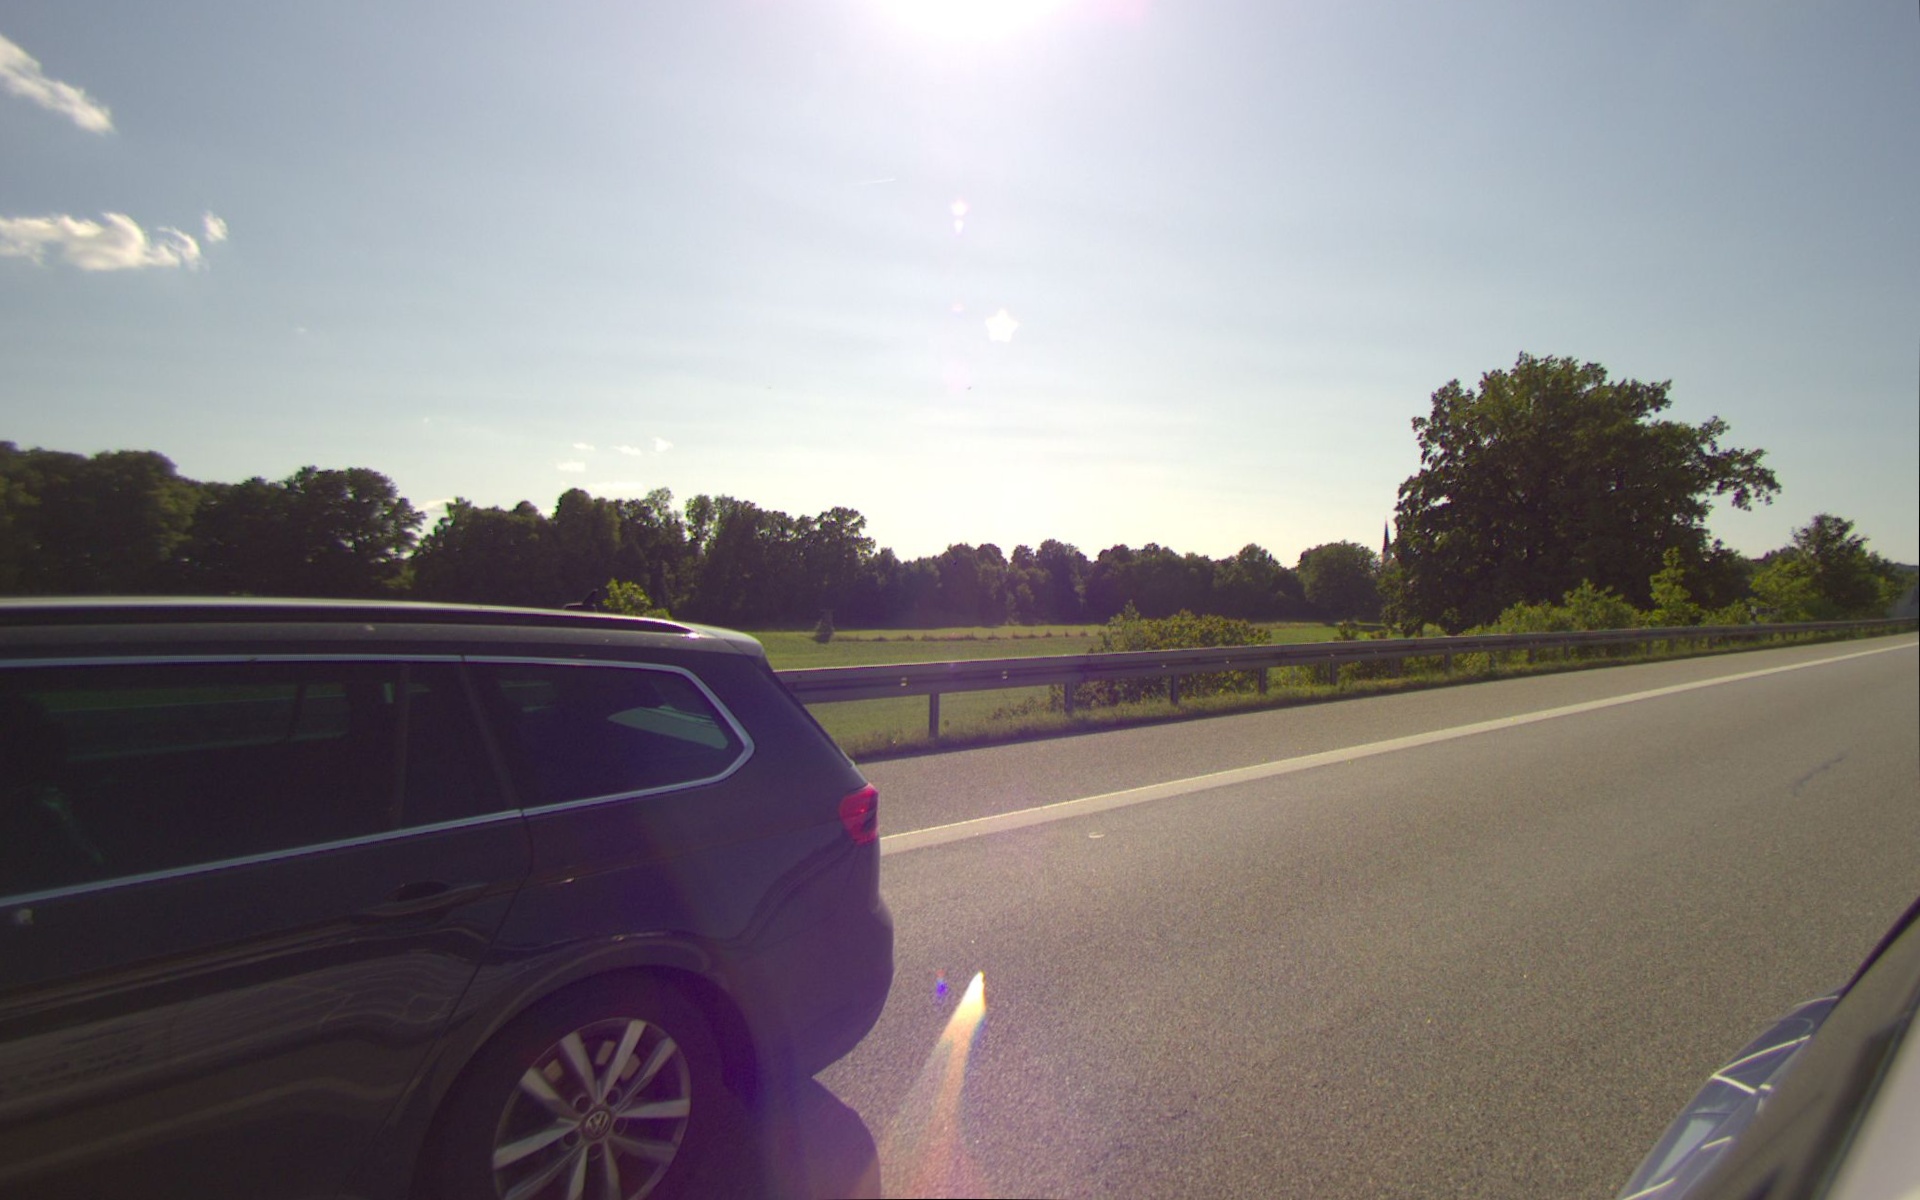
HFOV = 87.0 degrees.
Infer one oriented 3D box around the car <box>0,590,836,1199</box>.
[{"bbox_3d":[-2.487,0.704,1.726,4.338,1.417,1.721,-1,1,-42],"label":"car"}]
